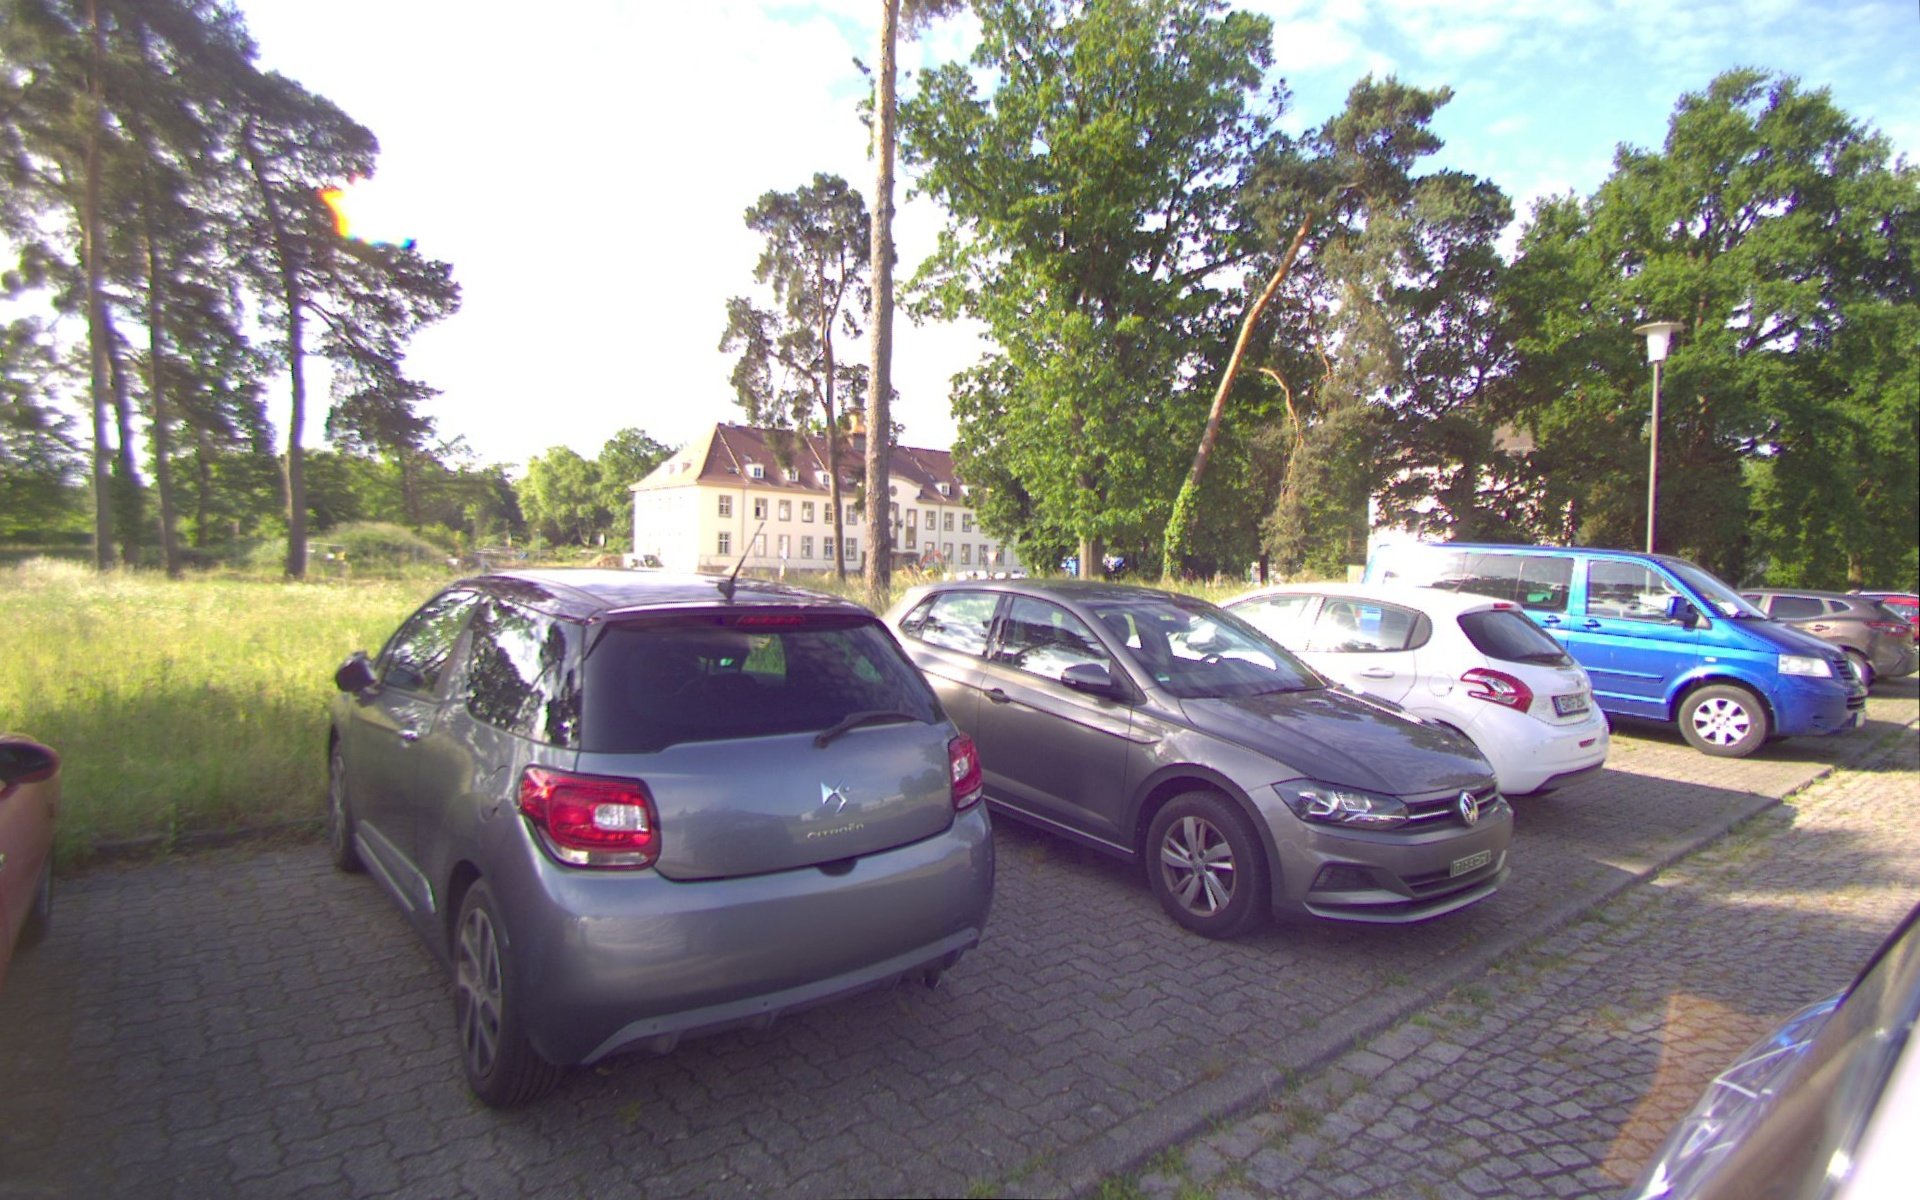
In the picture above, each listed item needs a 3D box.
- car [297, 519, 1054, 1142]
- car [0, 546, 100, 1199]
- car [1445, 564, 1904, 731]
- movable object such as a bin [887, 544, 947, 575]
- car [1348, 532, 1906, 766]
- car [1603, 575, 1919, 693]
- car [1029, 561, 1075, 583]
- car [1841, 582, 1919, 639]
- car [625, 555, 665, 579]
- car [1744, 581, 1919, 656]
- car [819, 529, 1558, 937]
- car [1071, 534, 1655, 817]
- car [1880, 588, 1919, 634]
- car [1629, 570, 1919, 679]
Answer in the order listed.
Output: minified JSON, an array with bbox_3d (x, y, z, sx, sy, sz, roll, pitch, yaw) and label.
[{"bbox_3d":[-1.564,0.439,4.394,1.784,1.466,3.717,0,3,-40],"label":"car"},{"bbox_3d":[-3.185,0.521,2.343,1.715,1.238,3.717,1,3,-39],"label":"car"},{"bbox_3d":[8.889,0.438,12.937,1.905,1.596,4.408,0,4,-40],"label":"car"},{"bbox_3d":[-4.730,-4.476,112.558,6.338,3.342,2.862,-1,0,7],"label":"movable object such as a bin"},{"bbox_3d":[7.024,0.298,11.158,1.965,1.958,4.710,0,4,-40],"label":"car"},{"bbox_3d":[13.499,0.449,16.957,1.902,1.617,4.232,-1,3,-42],"label":"car"},{"bbox_3d":[8.760,-2.647,96.381,4.317,1.963,1.906,-1,1,-39],"label":"car"},{"bbox_3d":[29.011,0.373,29.992,1.821,1.576,4.096,1,3,-41],"label":"car"},{"bbox_3d":[-30.359,-3.162,97.429,1.967,2.240,4.423,-1,1,-43],"label":"car"},{"bbox_3d":[21.140,0.427,23.668,1.821,1.477,4.096,1,3,-41],"label":"car"},{"bbox_3d":[0.974,0.395,5.745,1.823,1.466,3.717,1,3,-39],"label":"car"},{"bbox_3d":[2.811,0.339,7.725,1.729,1.553,3.717,1,3,-39],"label":"car"},{"bbox_3d":[32.705,0.464,32.751,1.753,1.440,4.096,1,3,-41],"label":"car"},{"bbox_3d":[15.296,0.352,18.956,1.902,1.617,4.233,-1,4,-42],"label":"car"}]
